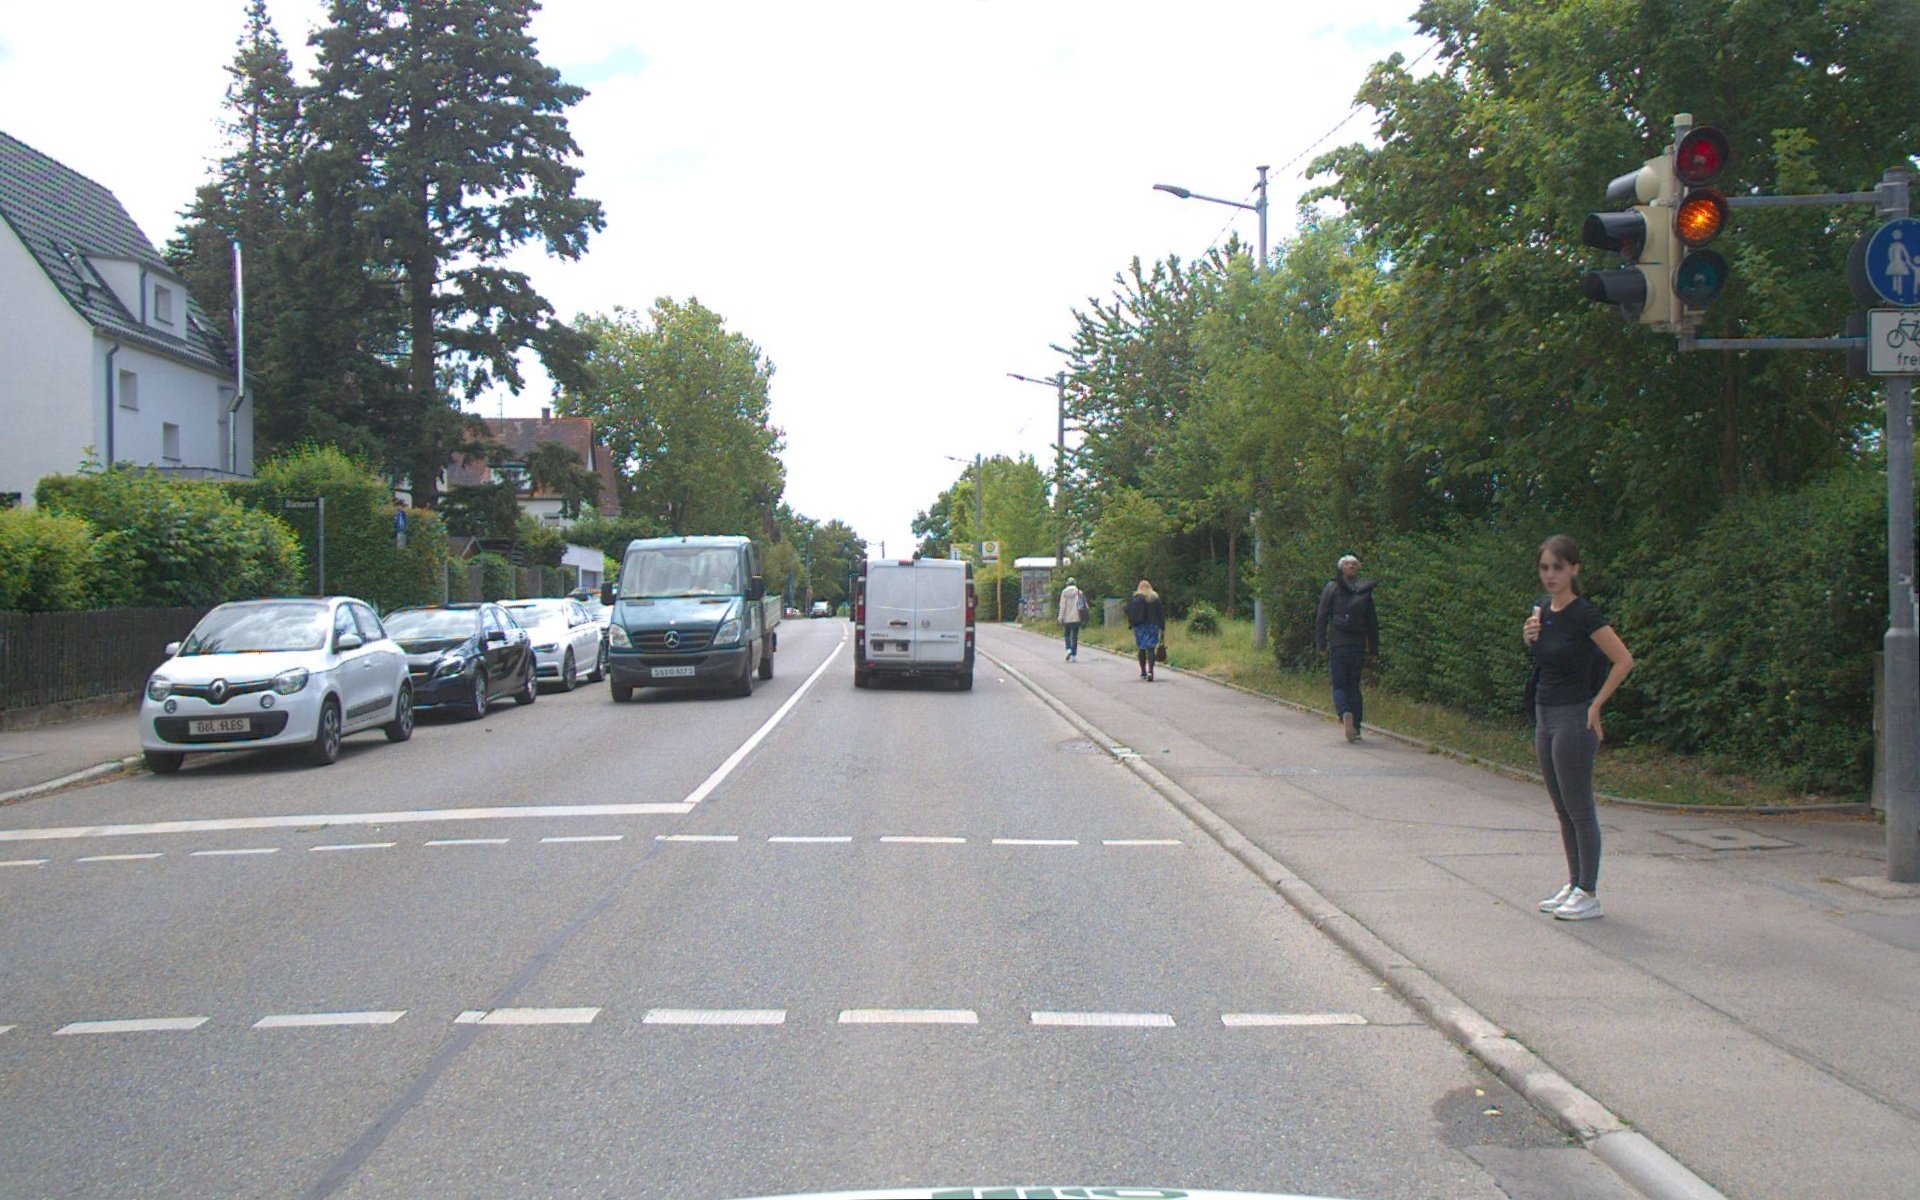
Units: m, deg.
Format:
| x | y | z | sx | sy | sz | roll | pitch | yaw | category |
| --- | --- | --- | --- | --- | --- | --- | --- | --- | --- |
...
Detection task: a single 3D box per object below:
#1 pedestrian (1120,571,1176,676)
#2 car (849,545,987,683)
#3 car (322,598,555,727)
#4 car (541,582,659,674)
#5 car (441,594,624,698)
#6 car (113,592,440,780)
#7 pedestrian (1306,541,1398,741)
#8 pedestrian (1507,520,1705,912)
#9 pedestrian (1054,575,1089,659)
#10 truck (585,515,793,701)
| x | y | z | sx | sy | sz | roll | pitch | yaw | category |
| --- | --- | --- | --- | --- | --- | --- | --- | --- | --- |
| 3.066 | 0.377 | 26.968 | 0.822 | 1.688 | 0.766 | 1 | 0 | 2 | pedestrian |
| -0.701 | 0.202 | 26.742 | 1.994 | 1.979 | 4.991 | 1 | 0 | -2 | car |
| -6.765 | 0.750 | 21.932 | 1.707 | 1.435 | 4.323 | -2 | 1 | -1 | car |
| -7.378 | 0.519 | 34.286 | 1.594 | 1.707 | 4.581 | -3 | 1 | -3 | car |
| -7.005 | 0.689 | 27.649 | 1.769 | 1.484 | 5.068 | -2 | 1 | -1 | car |
| -6.613 | 0.749 | 16.451 | 1.668 | 1.570 | 3.742 | -2 | 1 | -1 | car |
| 3.852 | 0.393 | 16.297 | 0.729 | 1.915 | 0.801 | 1 | 0 | 4 | pedestrian |
| 2.929 | 0.502 | 7.556 | 0.634 | 1.693 | 0.708 | 1 | 0 | 3 | pedestrian |
| 2.269 | 0.342 | 33.691 | 0.671 | 1.688 | 0.690 | 1 | 0 | 2 | pedestrian |
| -3.975 | 0.067 | 25.579 | 2.145 | 2.413 | 6.903 | -2 | 1 | -1 | truck |
